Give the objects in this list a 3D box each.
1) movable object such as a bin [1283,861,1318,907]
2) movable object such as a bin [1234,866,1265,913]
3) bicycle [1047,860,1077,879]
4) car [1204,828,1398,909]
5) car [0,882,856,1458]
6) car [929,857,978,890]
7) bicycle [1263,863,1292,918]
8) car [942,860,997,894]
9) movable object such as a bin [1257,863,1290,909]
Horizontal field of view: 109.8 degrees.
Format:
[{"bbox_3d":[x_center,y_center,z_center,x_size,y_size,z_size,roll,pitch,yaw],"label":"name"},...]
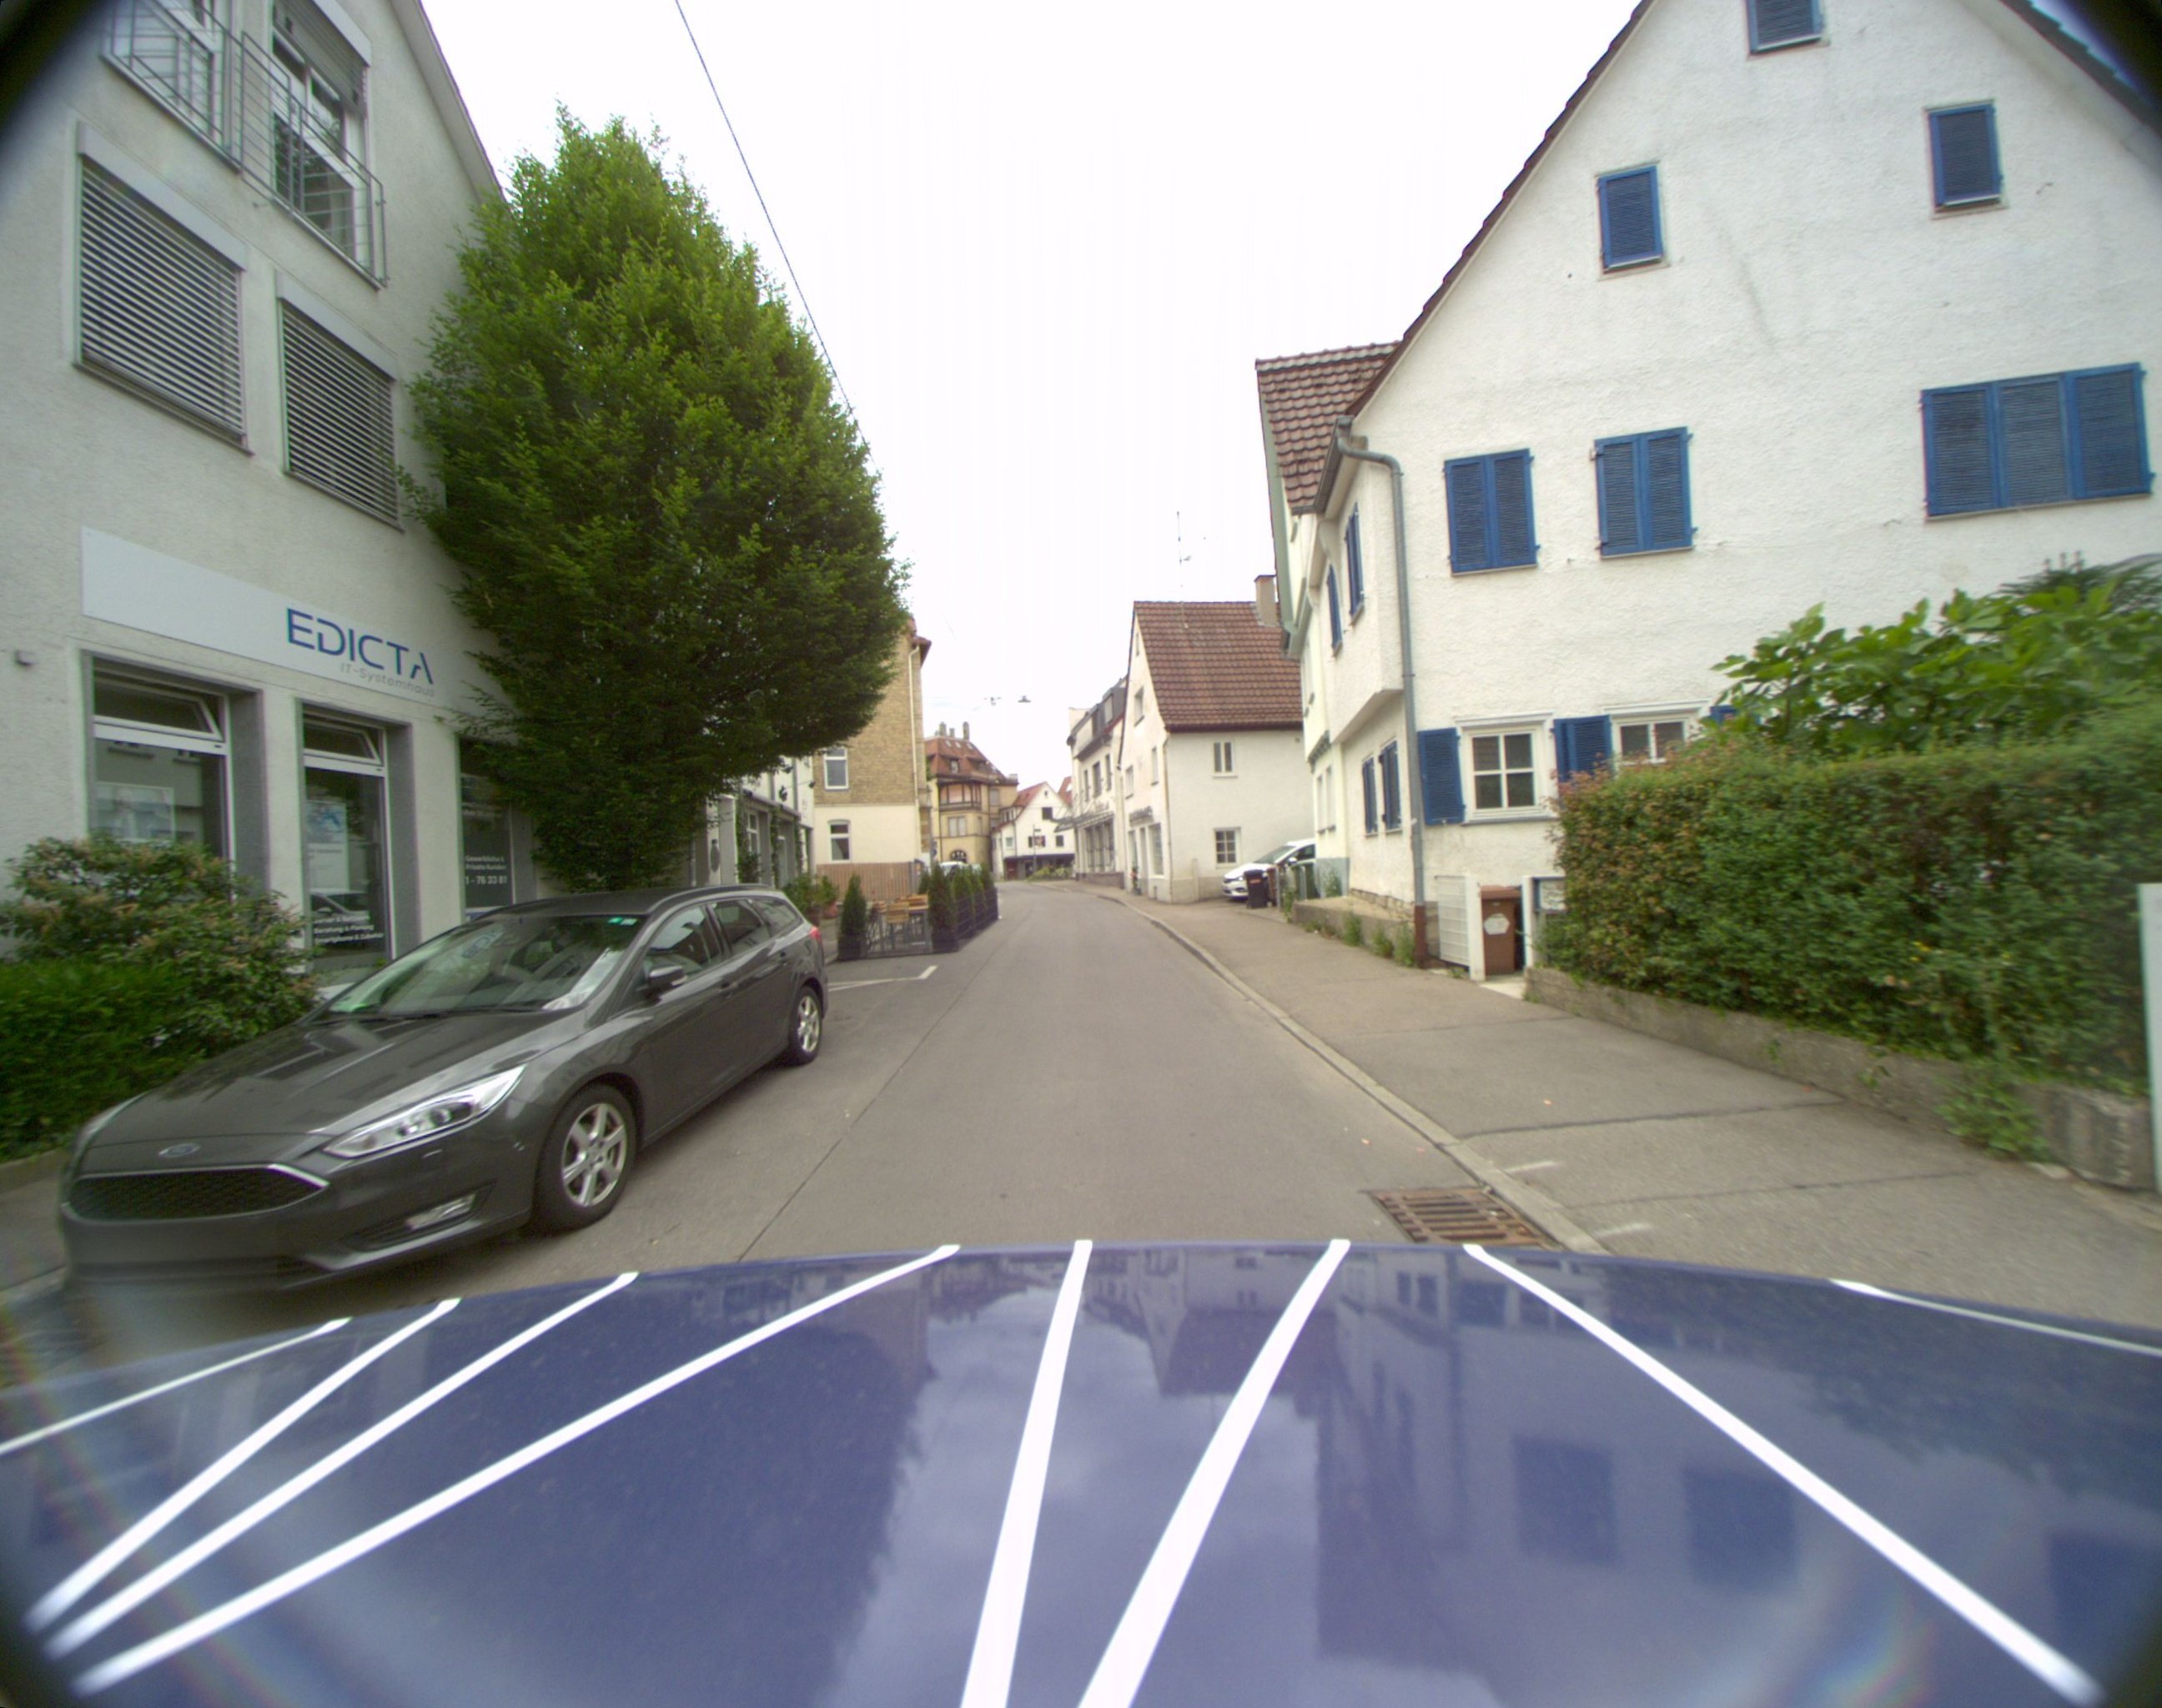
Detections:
[{"bbox_3d":[5.077,0.685,17.615,0.556,0.994,0.623,-9,-1,9],"label":"movable object such as a bin"},{"bbox_3d":[3.899,0.821,17.607,0.554,0.994,0.587,-8,-2,10],"label":"movable object such as a bin"},{"bbox_3d":[-1.381,1.144,55.856,1.983,1.232,0.743,-3,-1,-27],"label":"bicycle"},{"bbox_3d":[5.925,0.344,20.749,4.550,1.492,1.976,-8,3,-6],"label":"car"},{"bbox_3d":[-3.145,1.074,4.712,1.953,1.499,4.820,-3,0,0],"label":"car"},{"bbox_3d":[-7.642,1.150,45.195,1.833,1.781,4.211,-3,0,-23],"label":"car"},{"bbox_3d":[4.218,0.747,16.366,0.443,1.033,2.094,-7,-1,13],"label":"bicycle"},{"bbox_3d":[-6.023,1.202,40.554,1.795,1.591,4.534,-3,0,-22],"label":"car"},{"bbox_3d":[4.504,0.757,17.807,0.570,0.994,0.600,-8,-2,8],"label":"movable object such as a bin"}]
